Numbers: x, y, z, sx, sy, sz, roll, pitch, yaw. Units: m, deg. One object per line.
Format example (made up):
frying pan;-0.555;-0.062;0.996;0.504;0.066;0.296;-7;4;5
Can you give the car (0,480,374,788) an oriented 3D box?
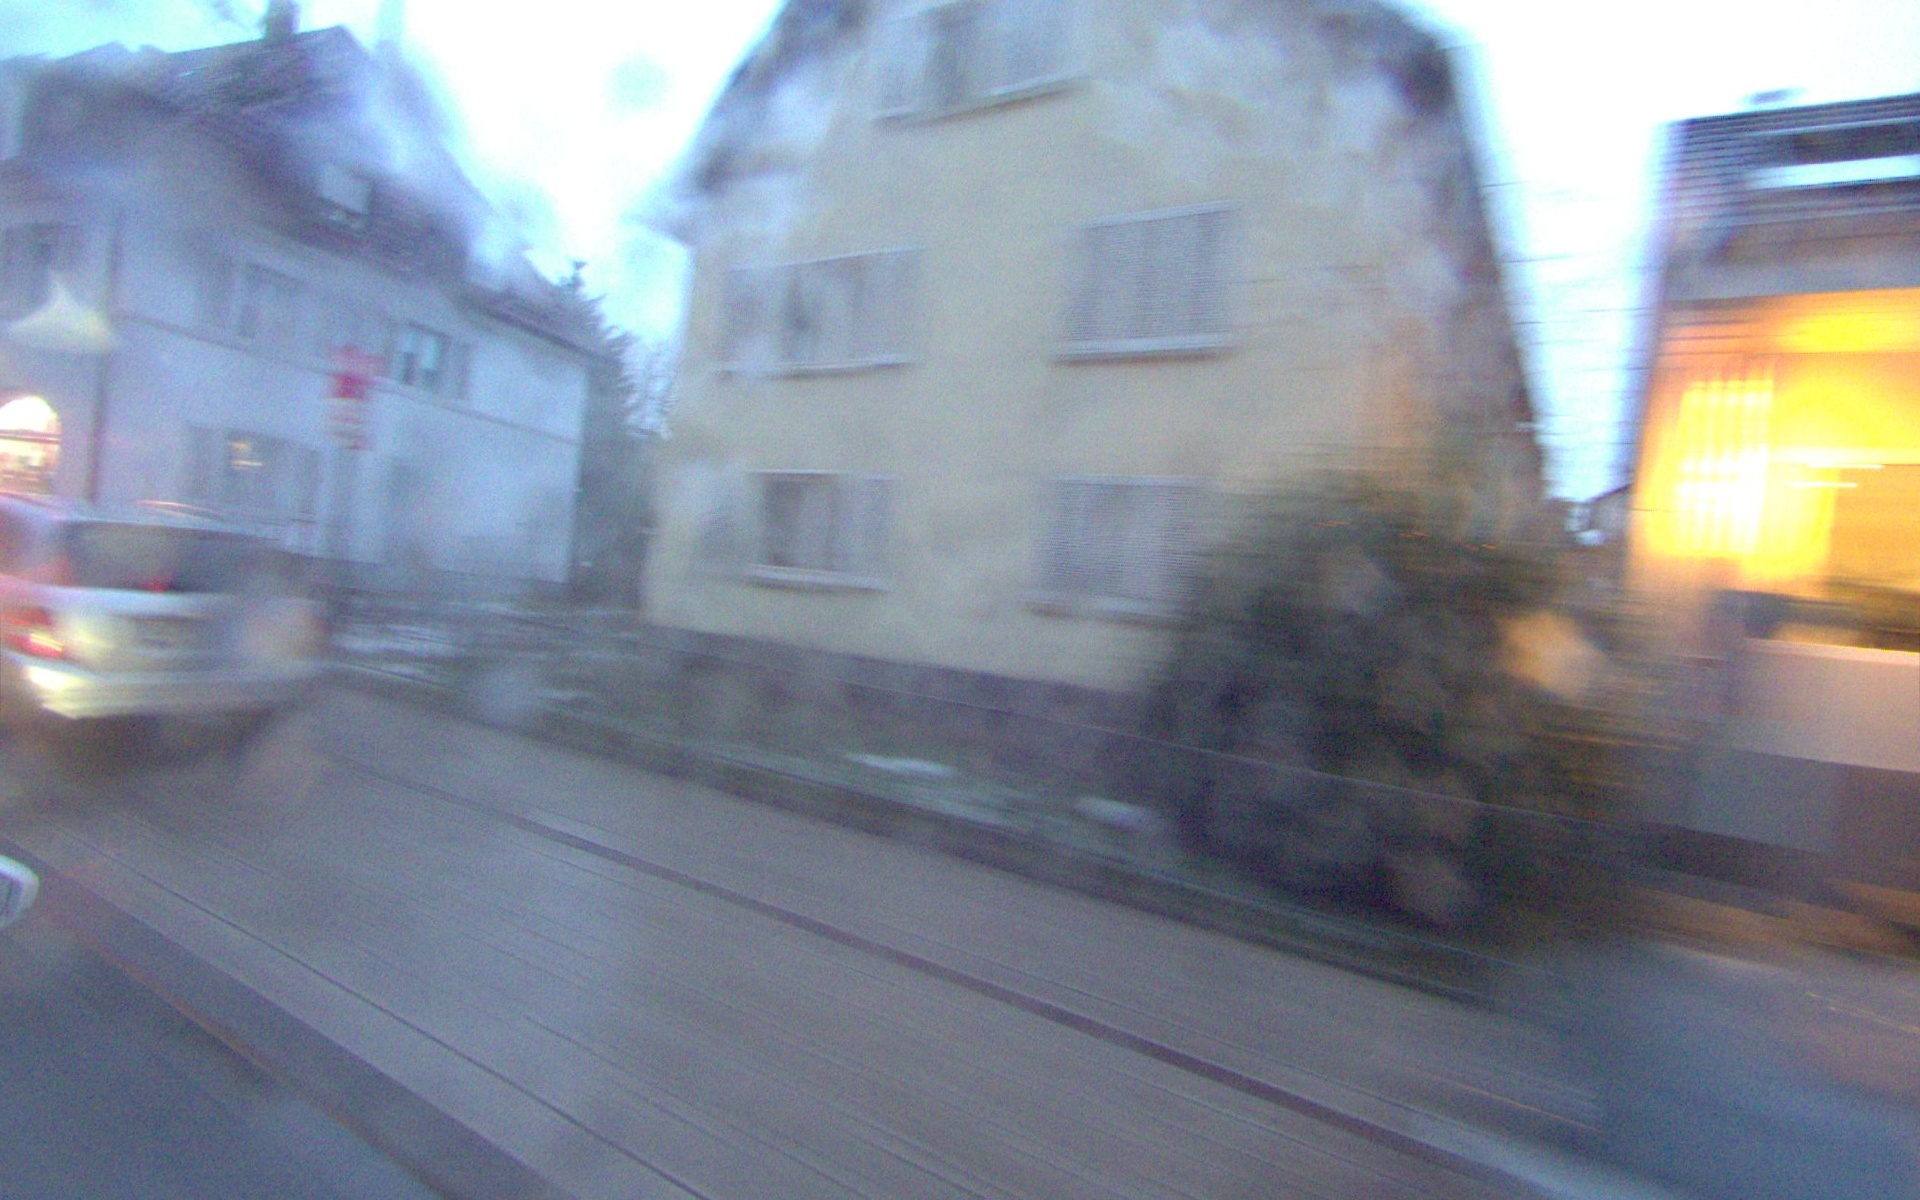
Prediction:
car;-6.141;-0.017;6.680;4.453;1.479;1.796;7;1;29

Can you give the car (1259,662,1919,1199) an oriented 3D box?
car;2.871;1.108;1.214;4.531;1.442;1.824;7;2;31
